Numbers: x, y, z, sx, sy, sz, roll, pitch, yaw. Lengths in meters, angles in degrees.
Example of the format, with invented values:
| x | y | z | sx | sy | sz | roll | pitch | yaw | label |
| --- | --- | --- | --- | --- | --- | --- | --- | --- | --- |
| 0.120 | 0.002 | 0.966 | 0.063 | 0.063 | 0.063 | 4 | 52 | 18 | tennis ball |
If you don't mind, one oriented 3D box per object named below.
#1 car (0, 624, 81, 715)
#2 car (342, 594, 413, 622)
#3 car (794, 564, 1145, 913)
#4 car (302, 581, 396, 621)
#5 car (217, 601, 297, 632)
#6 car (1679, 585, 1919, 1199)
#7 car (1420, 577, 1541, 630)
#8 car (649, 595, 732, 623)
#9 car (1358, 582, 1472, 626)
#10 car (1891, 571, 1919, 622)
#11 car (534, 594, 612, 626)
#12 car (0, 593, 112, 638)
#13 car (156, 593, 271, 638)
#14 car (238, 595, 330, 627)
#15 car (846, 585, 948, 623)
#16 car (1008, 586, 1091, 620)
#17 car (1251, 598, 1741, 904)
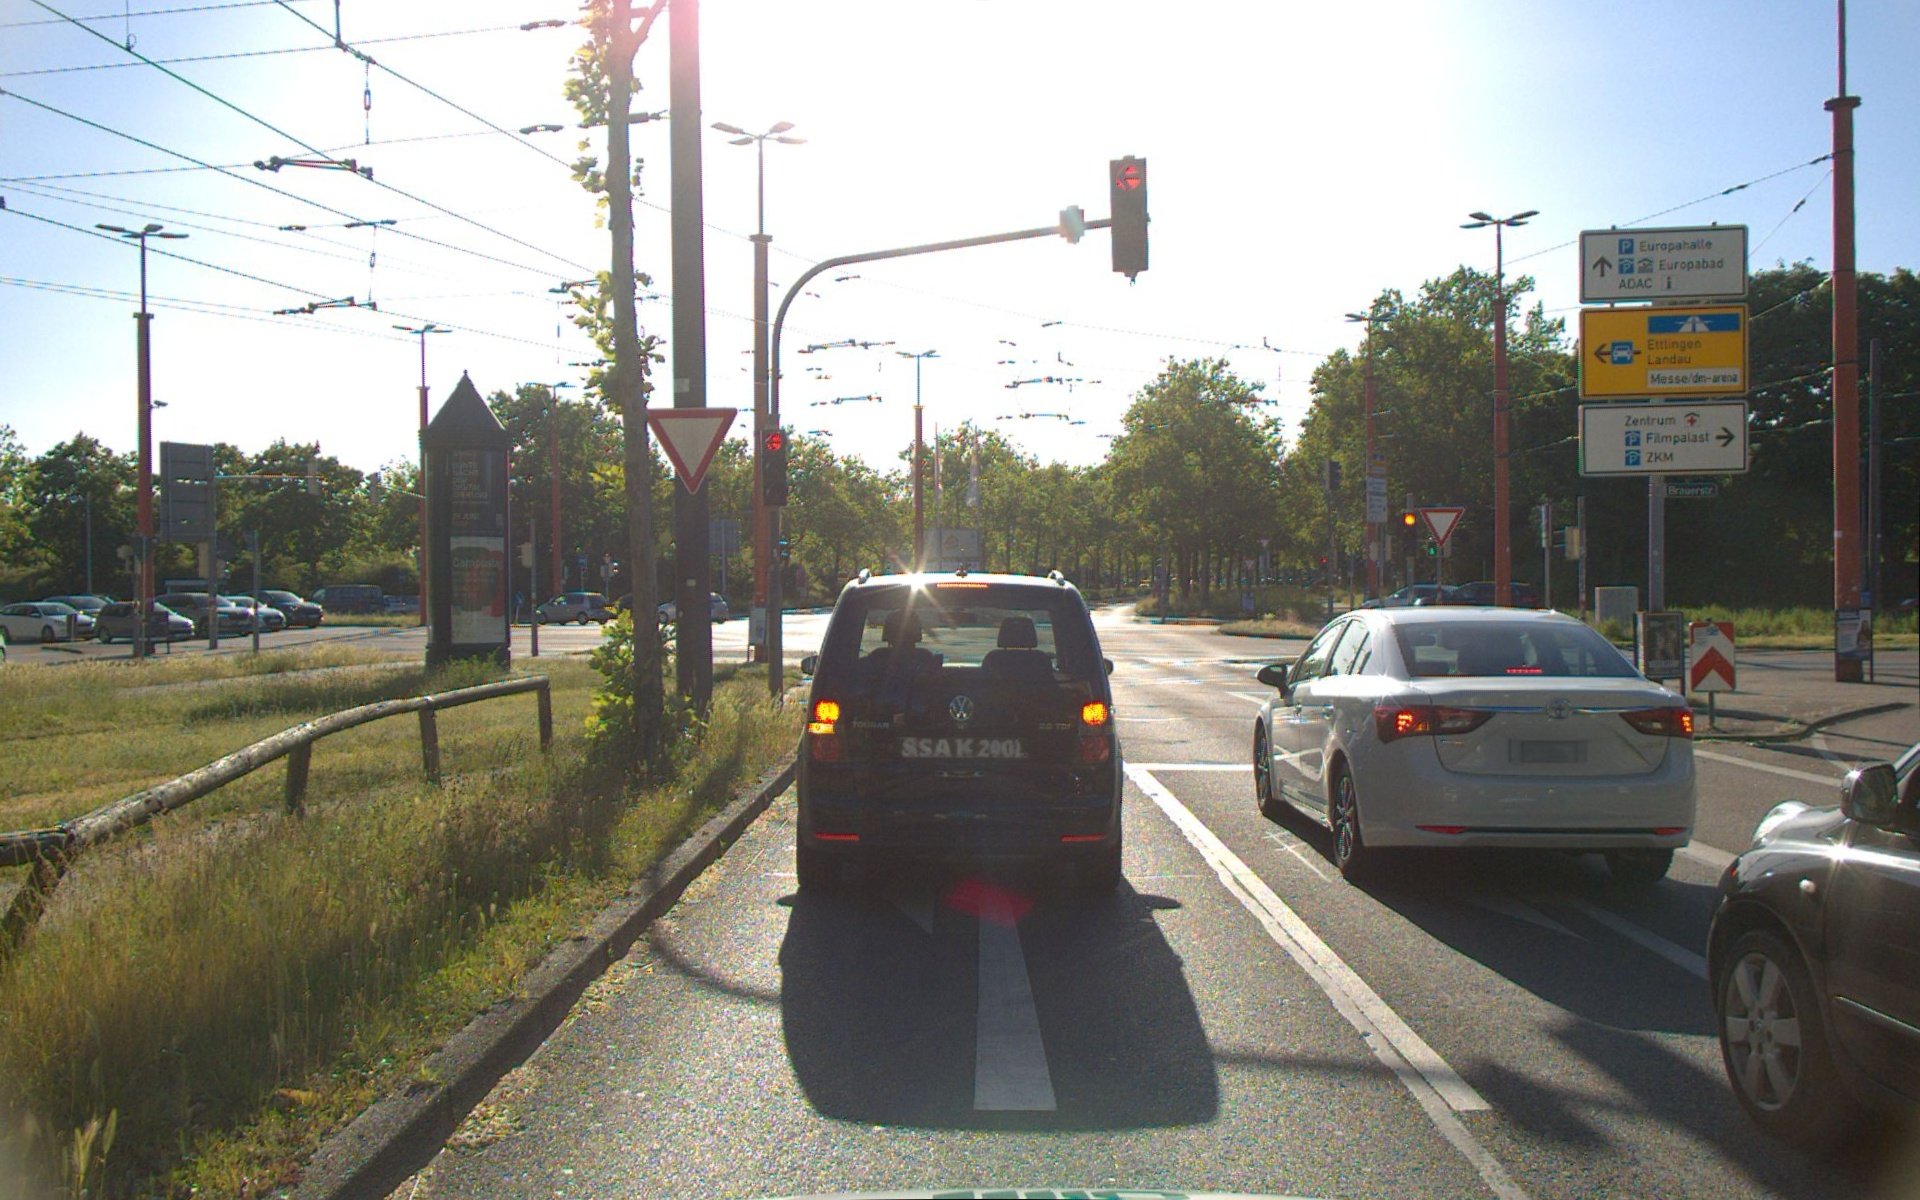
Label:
| x | y | z | sx | sy | sz | roll | pitch | yaw | label |
| --- | --- | --- | --- | --- | --- | --- | --- | --- | --- |
| -19.960 | 1.403 | 33.148 | 1.952 | 1.761 | 4.847 | 0 | 0 | 2 | car |
| -31.843 | 0.438 | 90.395 | 3.662 | 1.499 | 1.599 | 0 | 0 | 26 | car |
| 0.013 | 0.648 | 9.823 | 1.666 | 1.650 | 3.896 | 0 | 0 | -1 | car |
| -31.804 | 0.035 | 86.051 | 4.478 | 2.049 | 1.999 | 0 | 0 | 24 | car |
| -28.922 | 0.659 | 68.044 | 3.102 | 1.219 | 1.526 | 0 | 0 | 31 | car |
| 3.169 | 0.740 | 3.592 | 1.620 | 1.526 | 3.614 | 1 | 0 | 0 | car |
| 19.208 | 0.118 | 61.022 | 4.108 | 1.916 | 1.766 | 0 | 0 | 23 | car |
| -13.160 | 0.444 | 80.694 | 3.753 | 1.286 | 1.601 | 1 | 0 | 26 | car |
| 17.869 | 0.156 | 65.000 | 4.144 | 1.711 | 1.702 | 0 | 0 | 23 | car |
| 34.321 | -0.132 | 56.614 | 4.210 | 1.735 | 1.844 | 0 | 0 | 29 | car |
| -18.176 | 0.460 | 77.658 | 3.325 | 1.483 | 1.464 | 0 | 0 | 23 | car |
| -34.639 | 0.573 | 63.166 | 4.091 | 1.640 | 1.867 | 0 | 0 | 25 | car |
| -28.954 | 0.575 | 64.167 | 3.907 | 1.673 | 1.999 | 0 | 0 | 24 | car |
| -29.269 | 0.477 | 71.600 | 3.913 | 1.353 | 1.694 | 0 | 0 | 31 | car |
| -2.716 | 0.172 | 71.451 | 3.942 | 1.624 | 2.000 | 0 | 0 | 23 | car |
| 3.919 | 0.130 | 72.122 | 3.368 | 1.392 | 1.289 | 1 | 0 | 26 | car |
| 2.977 | 0.730 | 10.147 | 1.685 | 1.463 | 4.198 | 1 | 0 | 1 | car |
